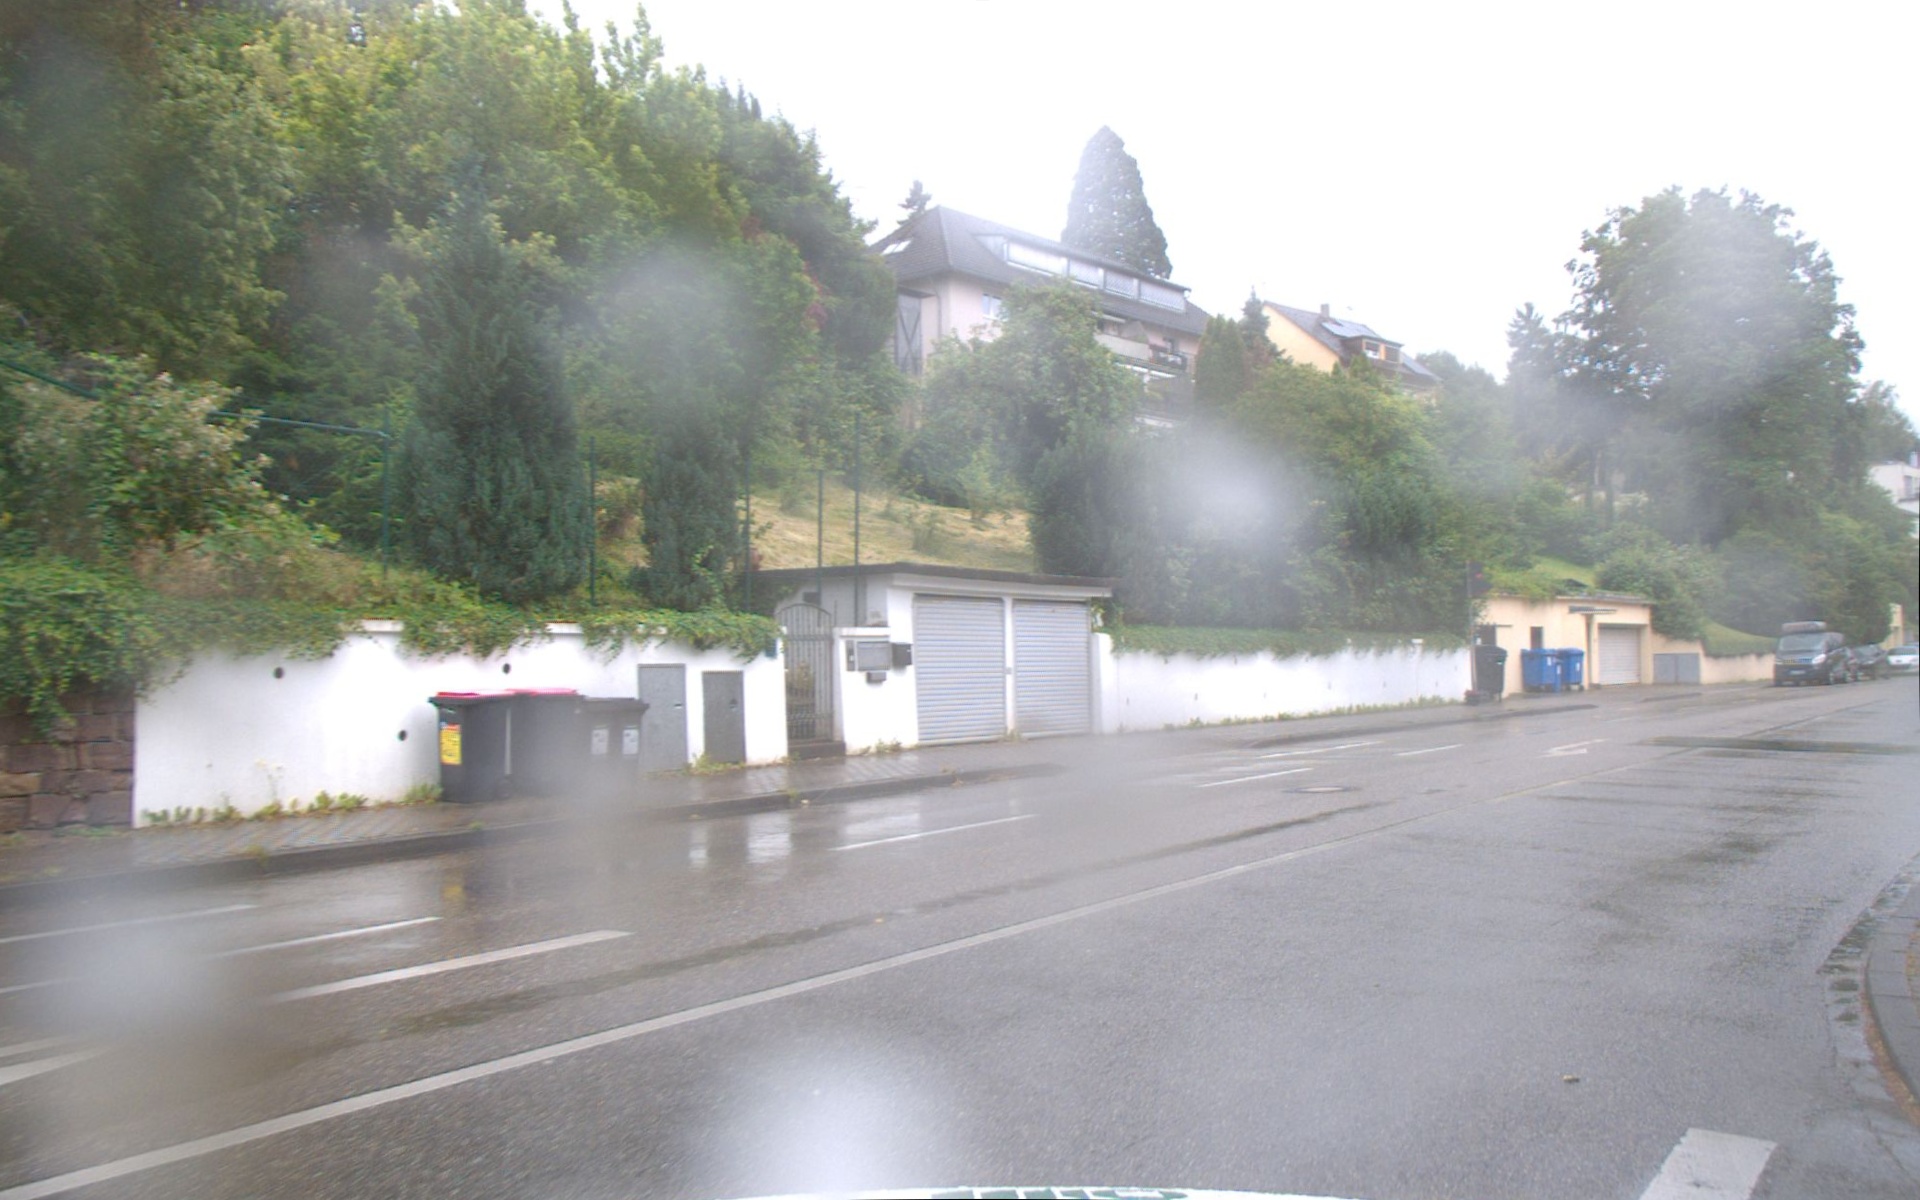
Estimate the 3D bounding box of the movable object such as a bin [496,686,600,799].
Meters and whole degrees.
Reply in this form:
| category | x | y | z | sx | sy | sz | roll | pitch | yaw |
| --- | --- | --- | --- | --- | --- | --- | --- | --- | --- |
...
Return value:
| category | x | y | z | sx | sy | sz | roll | pitch | yaw |
| --- | --- | --- | --- | --- | --- | --- | --- | --- | --- |
| movable object such as a bin | -4.138 | 1.418 | 16.622 | 0.623 | 1.079 | 0.792 | -3 | -2 | 33 |

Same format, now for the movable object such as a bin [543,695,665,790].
| category | x | y | z | sx | sy | sz | roll | pitch | yaw |
| --- | --- | --- | --- | --- | --- | --- | --- | --- | --- |
| movable object such as a bin | -3.772 | 1.497 | 17.554 | 0.834 | 0.932 | 0.951 | -3 | -2 | 32 |

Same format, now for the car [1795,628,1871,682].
| category | x | y | z | sx | sy | sz | roll | pitch | yaw |
| --- | --- | --- | --- | --- | --- | --- | --- | --- | --- |
| car | 35.499 | 2.229 | 67.205 | 1.962 | 2.049 | 3.981 | -3 | -2 | 38 |

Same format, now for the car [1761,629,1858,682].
| category | x | y | z | sx | sy | sz | roll | pitch | yaw |
| --- | --- | --- | --- | --- | --- | --- | --- | --- | --- |
| car | 32.191 | 2.081 | 62.589 | 2.259 | 1.784 | 5.155 | -3 | -2 | 39 |

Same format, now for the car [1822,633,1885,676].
| category | x | y | z | sx | sy | sz | roll | pitch | yaw |
| --- | --- | --- | --- | --- | --- | --- | --- | --- | --- |
| car | 38.371 | 2.318 | 70.965 | 1.788 | 1.711 | 3.984 | -3 | -2 | 36 |

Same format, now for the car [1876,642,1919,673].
| category | x | y | z | sx | sy | sz | roll | pitch | yaw |
| --- | --- | --- | --- | --- | --- | --- | --- | --- | --- |
| car | 45.491 | 2.752 | 79.930 | 1.682 | 1.368 | 3.665 | -3 | -2 | 36 |

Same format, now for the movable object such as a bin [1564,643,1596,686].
| category | x | y | z | sx | sy | sz | roll | pitch | yaw |
| --- | --- | --- | --- | --- | --- | --- | --- | --- | --- |
| movable object such as a bin | 20.116 | 2.078 | 53.659 | 0.700 | 1.359 | 0.829 | -3 | -2 | 42 |

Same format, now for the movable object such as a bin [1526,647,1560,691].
| category | x | y | z | sx | sy | sz | roll | pitch | yaw |
| --- | --- | --- | --- | --- | --- | --- | --- | --- | --- |
| movable object such as a bin | 18.224 | 2.154 | 51.672 | 0.700 | 1.359 | 0.829 | -3 | -2 | 42 |

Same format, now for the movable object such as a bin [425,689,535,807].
| category | x | y | z | sx | sy | sz | roll | pitch | yaw |
| --- | --- | --- | --- | --- | --- | --- | --- | --- | --- |
| movable object such as a bin | -4.641 | 1.413 | 16.000 | 0.674 | 1.079 | 0.752 | -3 | -2 | 33 |
